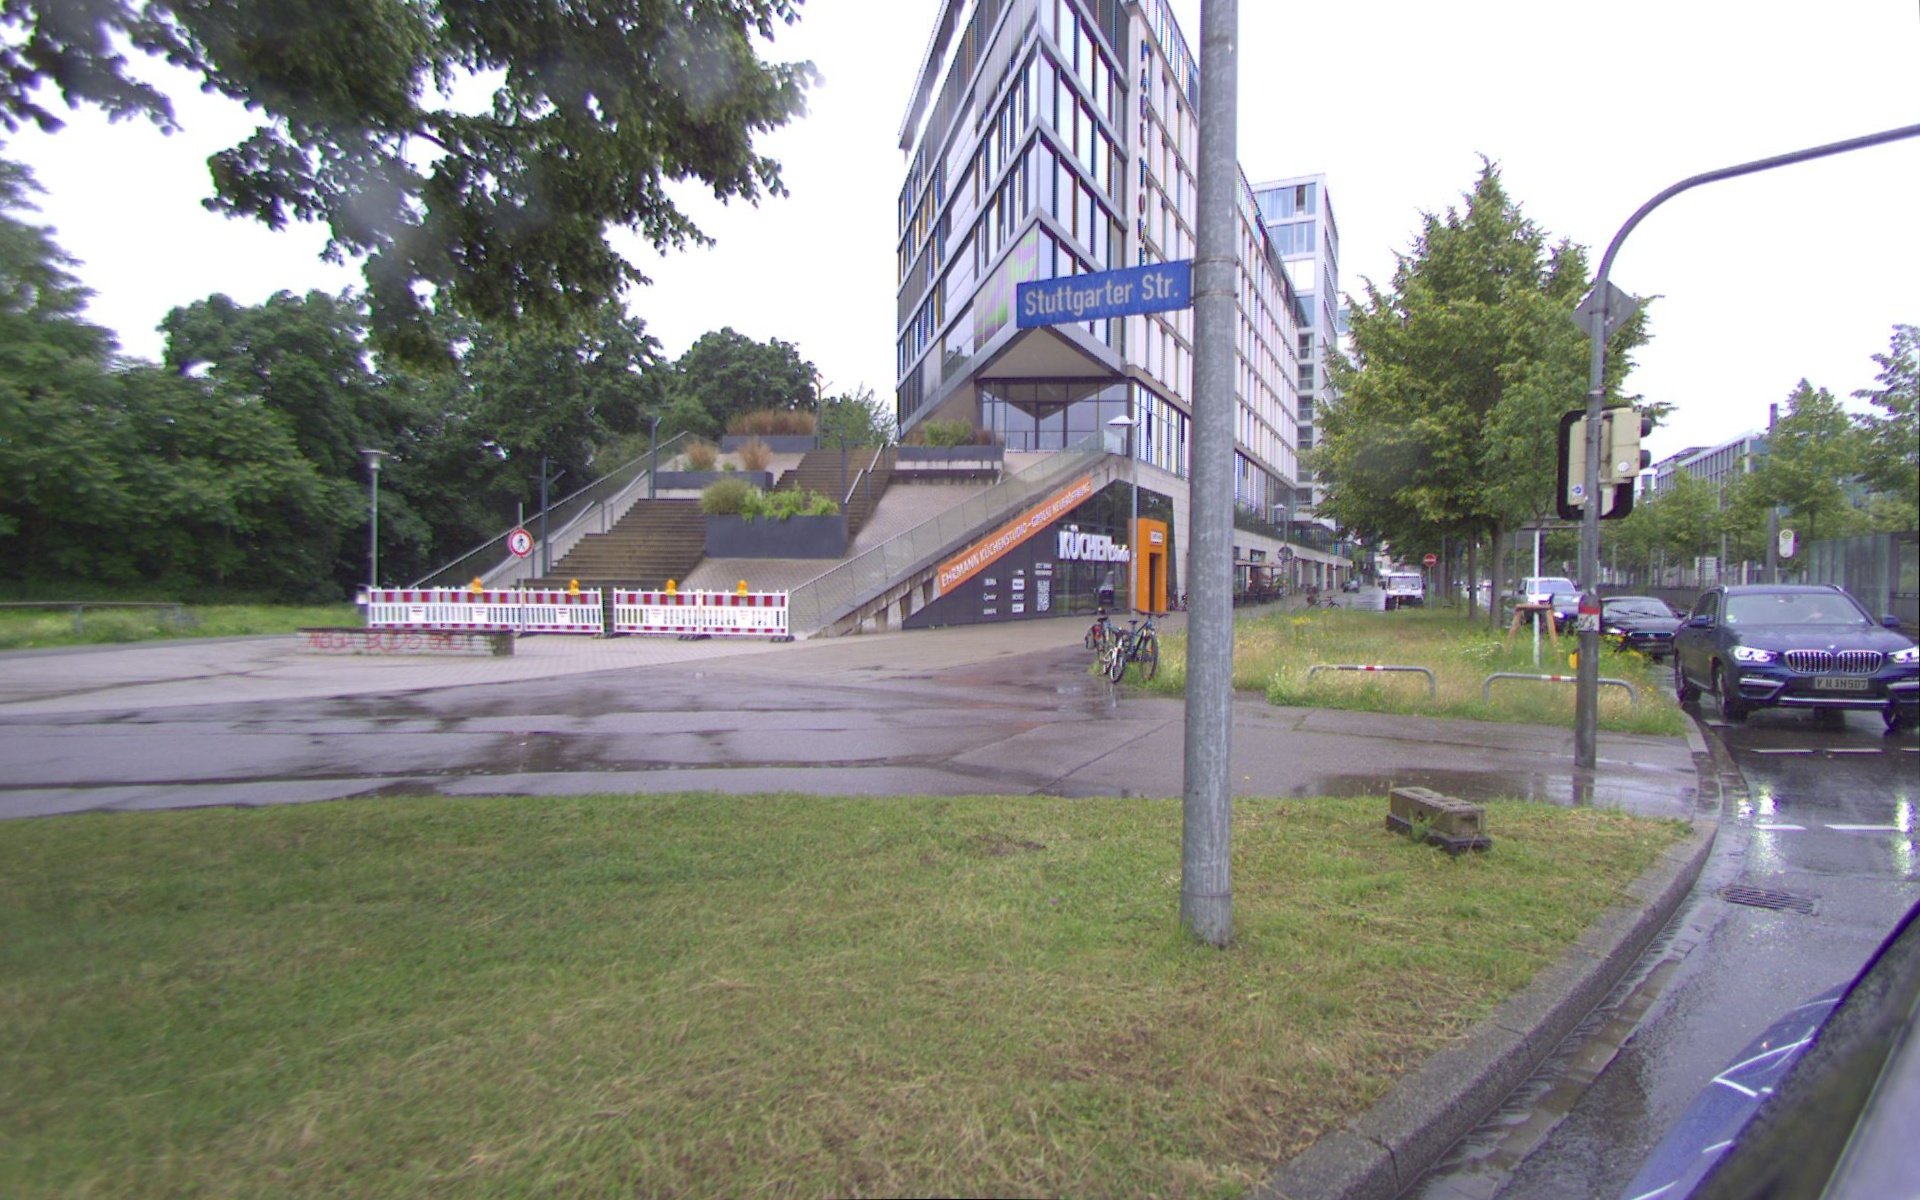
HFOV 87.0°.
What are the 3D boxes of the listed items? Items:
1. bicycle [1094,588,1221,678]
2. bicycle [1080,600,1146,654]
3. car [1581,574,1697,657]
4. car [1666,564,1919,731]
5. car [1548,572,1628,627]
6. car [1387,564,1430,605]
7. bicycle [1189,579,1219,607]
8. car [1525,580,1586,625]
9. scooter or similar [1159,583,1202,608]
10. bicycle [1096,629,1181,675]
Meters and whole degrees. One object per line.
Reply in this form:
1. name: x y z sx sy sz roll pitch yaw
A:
1. bicycle: 2.832 0.423 14.841 0.542 1.204 2.530 0 1 -22
2. bicycle: 2.703 0.448 17.731 0.629 0.857 2.147 0 1 23
3. car: 15.975 0.299 24.013 1.901 1.768 4.338 -2 0 30
4. car: 10.624 0.475 12.951 1.898 1.768 4.344 -2 0 26
5. car: 20.438 -0.049 33.088 1.771 1.668 3.965 -2 0 26
6. car: 25.912 -0.892 58.399 2.065 2.229 5.052 -2 0 26
7. bicycle: 12.456 -0.380 51.642 0.874 1.364 2.673 -2 0 26
8. car: 23.982 0.053 40.862 1.771 1.668 3.965 -2 0 26
9. scooter or similar: 10.646 -0.238 48.778 0.809 1.113 2.573 -2 0 44
10. bicycle: 2.554 0.731 14.661 0.314 0.566 1.806 0 1 -22
